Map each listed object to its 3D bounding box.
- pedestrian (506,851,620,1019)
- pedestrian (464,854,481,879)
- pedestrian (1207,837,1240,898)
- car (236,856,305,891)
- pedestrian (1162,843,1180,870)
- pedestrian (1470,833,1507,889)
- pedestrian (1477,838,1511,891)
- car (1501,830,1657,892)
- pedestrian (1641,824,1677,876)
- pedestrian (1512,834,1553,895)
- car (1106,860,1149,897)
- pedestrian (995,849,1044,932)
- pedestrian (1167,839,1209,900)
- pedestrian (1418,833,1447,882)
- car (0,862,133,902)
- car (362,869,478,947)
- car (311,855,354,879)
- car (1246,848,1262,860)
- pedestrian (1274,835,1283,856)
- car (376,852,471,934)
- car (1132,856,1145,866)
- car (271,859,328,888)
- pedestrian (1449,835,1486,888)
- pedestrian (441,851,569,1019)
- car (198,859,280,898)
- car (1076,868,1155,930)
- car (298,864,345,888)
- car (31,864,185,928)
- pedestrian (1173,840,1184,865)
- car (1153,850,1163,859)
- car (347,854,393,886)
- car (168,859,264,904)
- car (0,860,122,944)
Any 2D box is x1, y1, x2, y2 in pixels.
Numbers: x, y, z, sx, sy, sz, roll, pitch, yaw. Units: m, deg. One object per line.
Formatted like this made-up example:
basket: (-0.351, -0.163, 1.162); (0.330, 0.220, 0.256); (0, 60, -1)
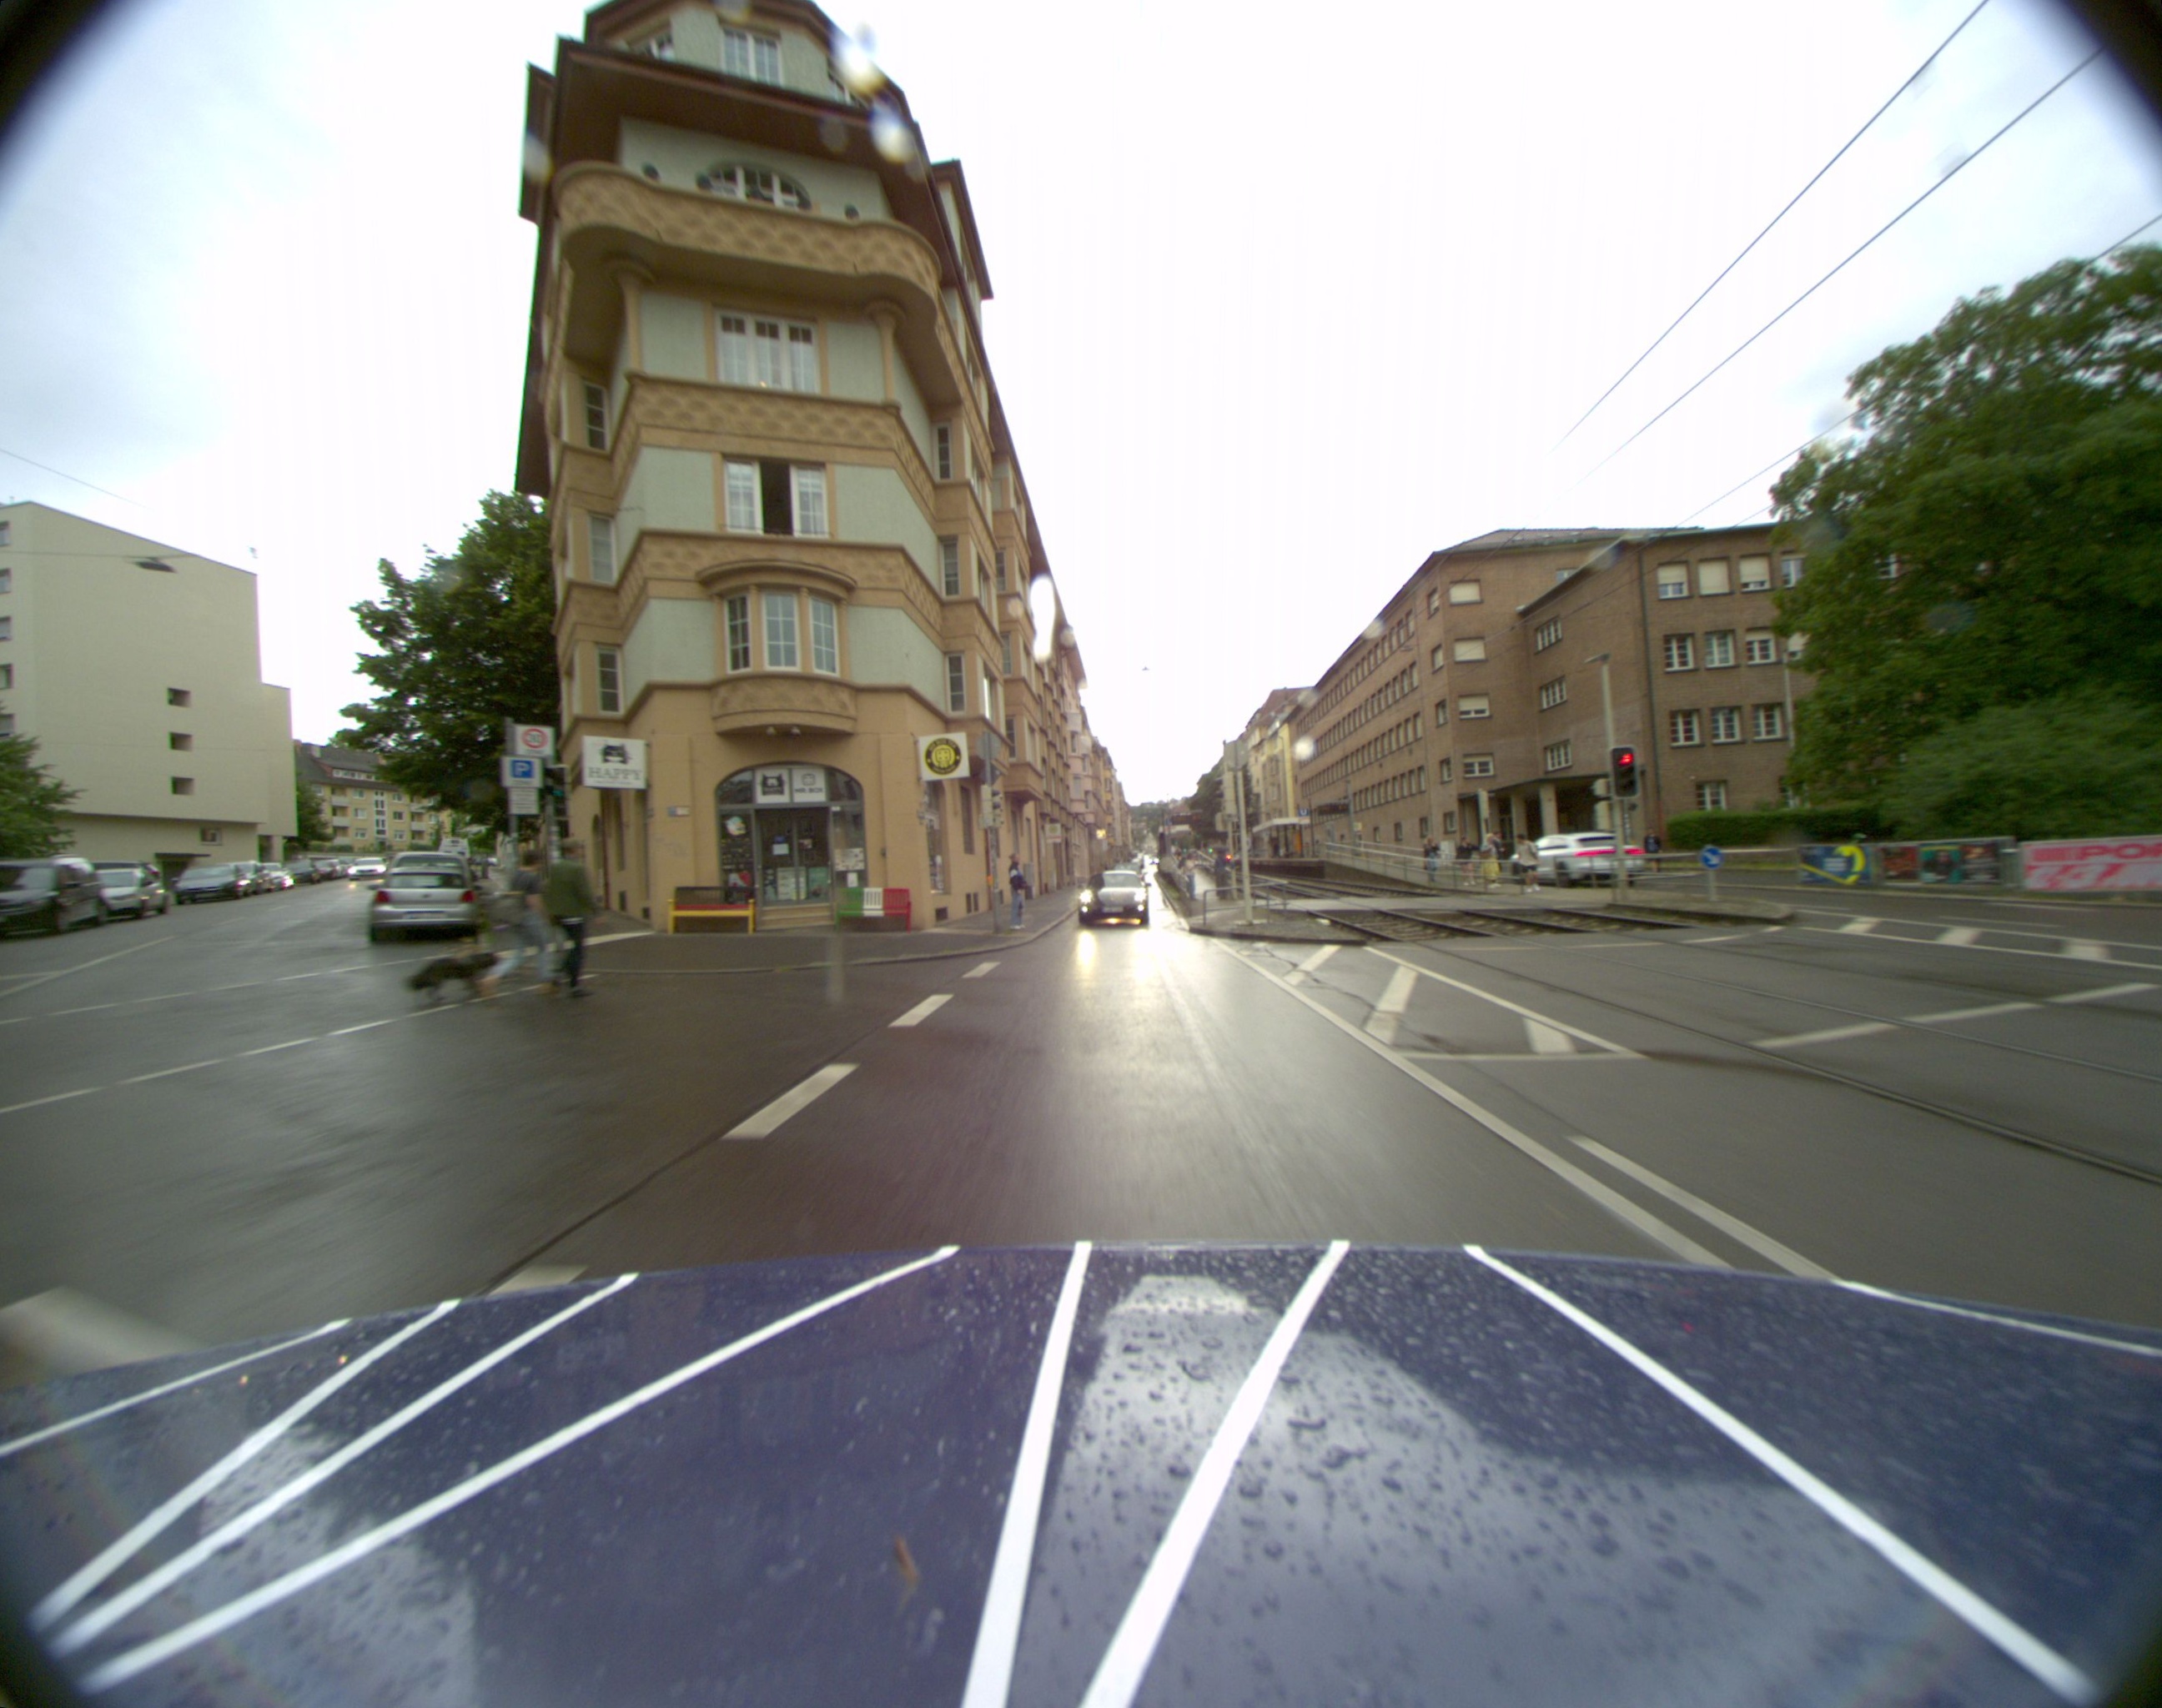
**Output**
pedestrian: (-5.780, 0.859, 8.530); (0.595, 1.778, 0.891); (-1, 1, 1)
pedestrian: (-49.543, 1.012, 61.880); (0.948, 2.002, 1.306); (-2, 1, -42)
pedestrian: (4.866, 0.456, 26.026); (0.899, 2.002, 0.948); (-4, 0, 5)
car: (-41.480, 0.977, 38.980); (1.749, 1.501, 3.989); (-8, 4, -39)
pedestrian: (6.291, 0.170, 53.273); (1.116, 1.764, 1.112); (-4, 0, 5)
pedestrian: (12.673, 0.216, 23.620); (0.745, 1.638, 0.640); (-4, 3, 5)
pedestrian: (13.247, 0.328, 24.380); (0.766, 1.641, 0.648); (-2, 3, 4)
car: (15.662, 0.130, 24.328); (1.997, 1.619, 5.252); (-1, 3, 6)
pedestrian: (19.136, -0.137, 25.166); (0.605, 1.665, 0.689); (-2, 0, 2)
pedestrian: (12.185, 0.281, 20.542); (0.693, 1.573, 0.957); (-3, 0, 18)
car: (2.064, 1.037, 32.906); (1.689, 1.451, 3.300); (-2, 0, 5)
pedestrian: (-1.393, 0.808, 17.324); (0.967, 1.830, 0.903); (0, 1, 5)
pedestrian: (3.687, 0.540, 26.240); (0.949, 2.002, 0.927); (-4, 0, -40)
pedestrian: (12.829, 0.117, 27.740); (0.666, 1.689, 0.688); (-4, 2, 2)
car: (-45.011, 1.208, 33.251); (4.006, 1.474, 1.739); (-4, 0, -36)
car: (-13.857, 1.038, 16.030); (1.694, 1.451, 3.525); (0, -1, -40)
car: (-56.428, 0.978, 57.371); (1.749, 1.631, 3.989); (-8, 4, -39)
car: (22.574, -0.026, 99.270); (1.648, 1.457, 3.112); (-3, 0, 7)
pedestrian: (16.416, -0.675, 63.162); (0.588, 1.699, 0.491); (-2, 0, 4)
car: (-16.957, 0.937, 19.692); (1.608, 1.834, 3.545); (-5, 2, -40)
car: (8.582, 1.023, 113.761); (1.632, 1.443, 4.002); (-3, 0, 7)
car: (-47.103, 1.133, 45.860); (1.749, 1.501, 3.989); (-8, 4, -39)
pedestrian: (12.985, 0.238, 25.553); (0.745, 1.687, 0.883); (-4, 2, 4)
pedestrian: (-6.439, 0.867, 8.543); (0.683, 1.778, 0.902); (-1, 1, 1)
car: (-38.568, 1.110, 34.903); (1.749, 1.501, 3.989); (-8, 4, -39)
car: (1.015, 1.113, 20.145); (1.704, 1.280, 4.197); (-4, 0, 7)
car: (-53.420, 1.522, 53.511); (1.749, 1.501, 3.989); (-8, 4, -39)
car: (-28.175, 1.155, 22.177); (1.749, 1.501, 3.989); (-8, 4, -39)
pedestrian: (7.172, -0.131, 55.780); (0.645, 1.764, 0.711); (-4, 0, 5)
car: (16.757, 0.070, 164.751); (1.805, 1.892, 4.000); (-1, 0, 2)
car: (-47.518, 1.033, 50.871); (1.749, 1.862, 3.989); (-8, 4, -39)
car: (-35.038, 1.077, 30.884); (1.749, 1.501, 3.989); (-8, 4, -39)
car: (-24.527, 1.076, 17.699); (1.749, 1.716, 4.345); (-6, 4, -40)
